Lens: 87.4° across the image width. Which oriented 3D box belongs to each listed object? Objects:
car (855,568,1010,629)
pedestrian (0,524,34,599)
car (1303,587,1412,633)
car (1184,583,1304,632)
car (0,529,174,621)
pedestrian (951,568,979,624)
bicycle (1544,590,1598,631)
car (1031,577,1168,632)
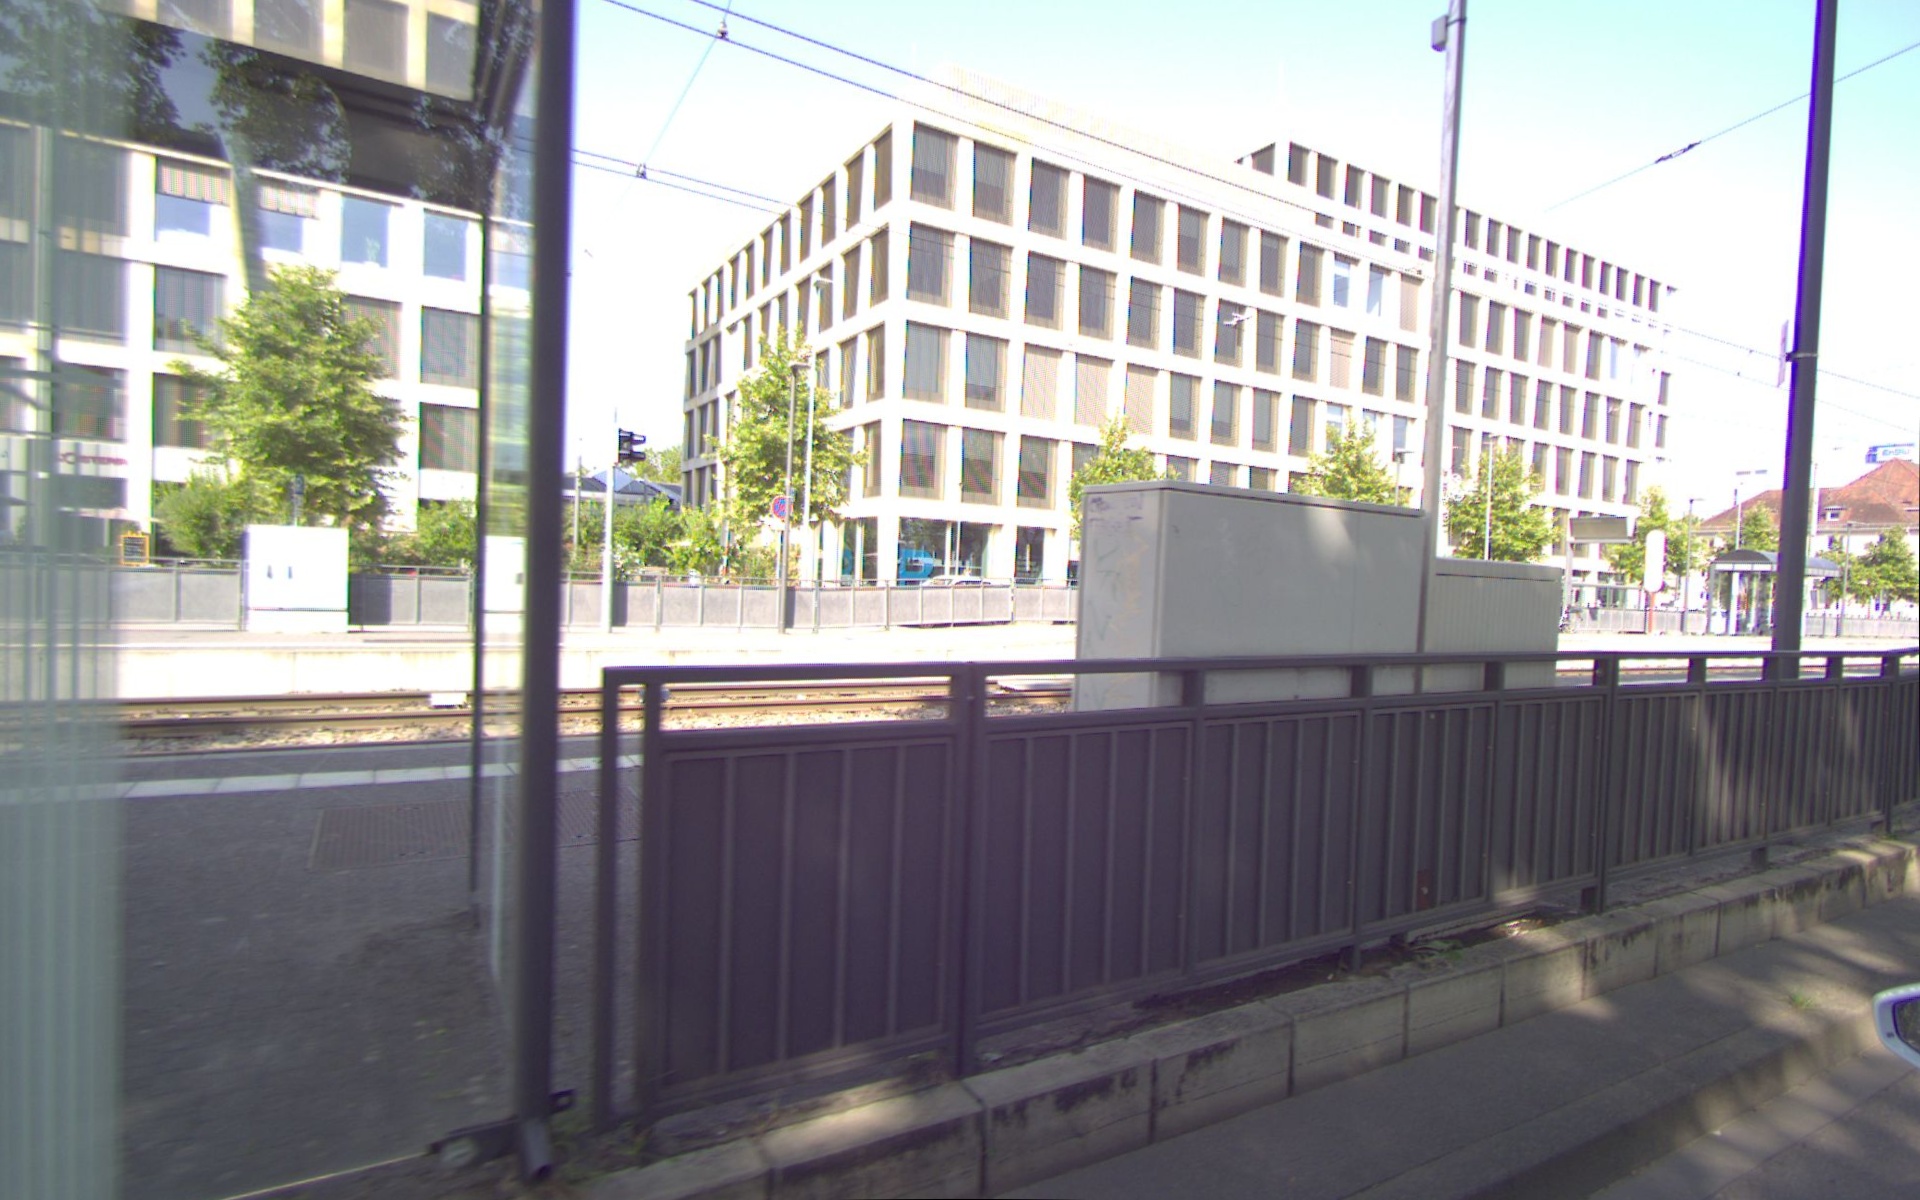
[{"bbox_3d":[-0.754,-0.023,28.640,4.087,1.595,1.754,2,0,-32],"label":"car"},{"bbox_3d":[-26.313,-1.056,27.730,0.902,2.041,0.724,1,1,-29],"label":"pedestrian"},{"bbox_3d":[15.128,0.374,38.169,4.087,1.624,1.754,1,1,-32],"label":"car"},{"bbox_3d":[9.998,0.265,35.241,4.087,1.595,1.754,2,0,-32],"label":"car"},{"bbox_3d":[-16.937,-0.454,18.145,4.087,1.555,1.754,2,0,-32],"label":"car"},{"bbox_3d":[0.191,-0.148,37.514,0.813,2.040,0.560,3,-2,-31],"label":"pedestrian"},{"bbox_3d":[18.305,0.308,30.075,1.459,1.163,0.471,2,1,-16],"label":"bicycle"},{"bbox_3d":[4.417,0.155,31.644,4.087,1.595,1.754,2,0,-32],"label":"car"}]
